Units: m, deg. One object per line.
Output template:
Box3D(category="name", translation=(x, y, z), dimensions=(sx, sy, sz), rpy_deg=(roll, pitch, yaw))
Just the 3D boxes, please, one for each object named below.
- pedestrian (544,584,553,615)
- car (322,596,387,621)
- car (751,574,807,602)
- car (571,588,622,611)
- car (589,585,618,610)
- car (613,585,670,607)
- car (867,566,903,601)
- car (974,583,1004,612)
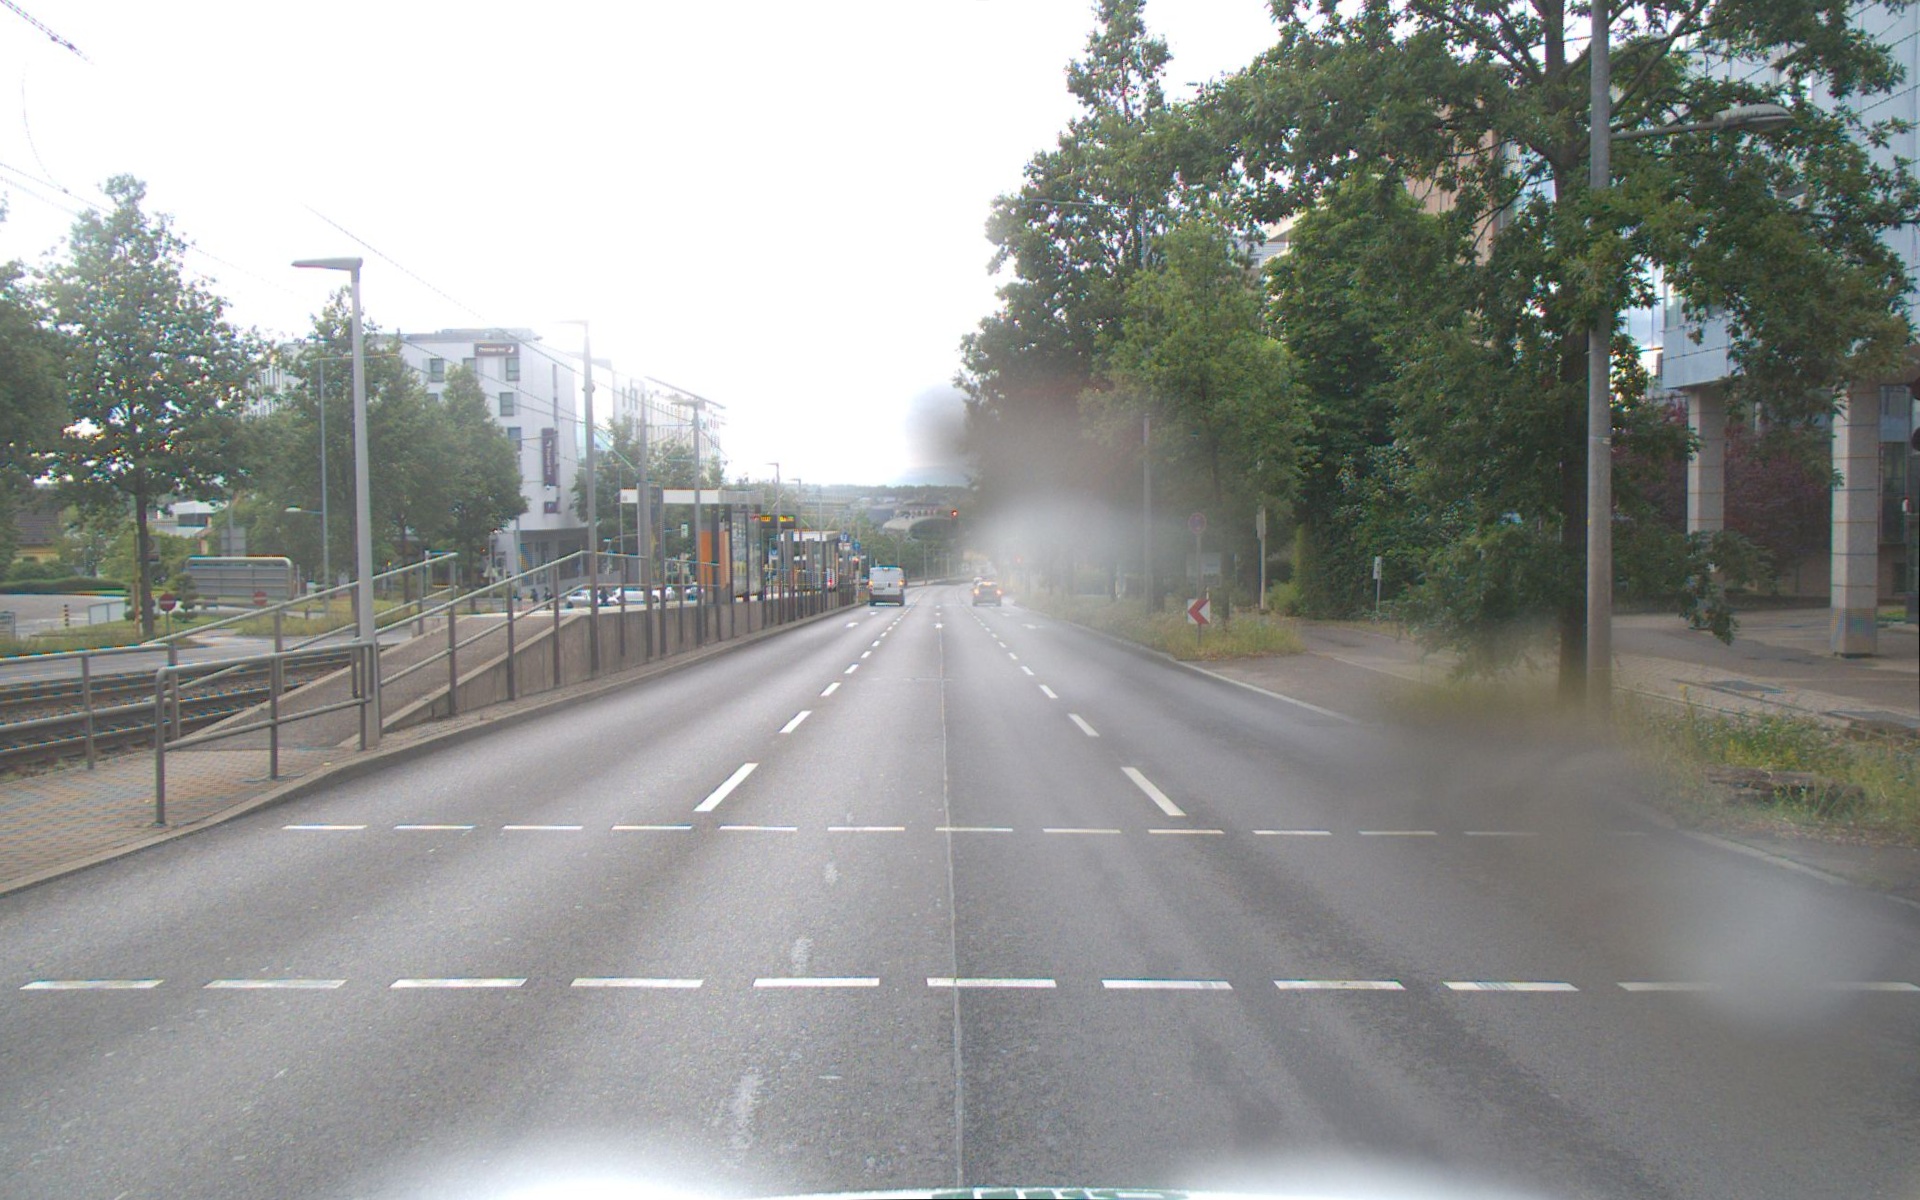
Box3D(category="pedestrian", translation=(-26.185, -0.012, 105.199), dimensions=(0.465, 1.954, 0.490), rpy_deg=(0, 0, -1))
Box3D(category="car", translation=(-34.901, 0.466, 95.289), dimensions=(3.297, 1.411, 1.434), rpy_deg=(0, 1, 16))
Box3D(category="car", translation=(-13.287, -0.886, 121.522), dimensions=(3.921, 2.049, 1.753), rpy_deg=(0, 0, -15))
Box3D(category="car", translation=(-24.775, -0.041, 112.688), dimensions=(1.643, 1.461, 3.817), rpy_deg=(-3, 1, -44))
Box3D(category="car", translation=(-22.296, -0.150, 103.281), dimensions=(1.622, 1.461, 3.866), rpy_deg=(-2, 1, -14))
Box3D(category="car", translation=(-23.747, -0.295, 123.364), dimensions=(4.022, 1.461, 1.649), rpy_deg=(-3, 1, -16))
Box3D(category="car", translation=(-4.529, -0.985, 100.441), dimensions=(2.051, 2.089, 4.605), rpy_deg=(0, 1, -2))
Box3D(category="car", translation=(1.802, -0.178, 102.585), dimensions=(1.738, 1.720, 3.845), rpy_deg=(0, 1, -1))
